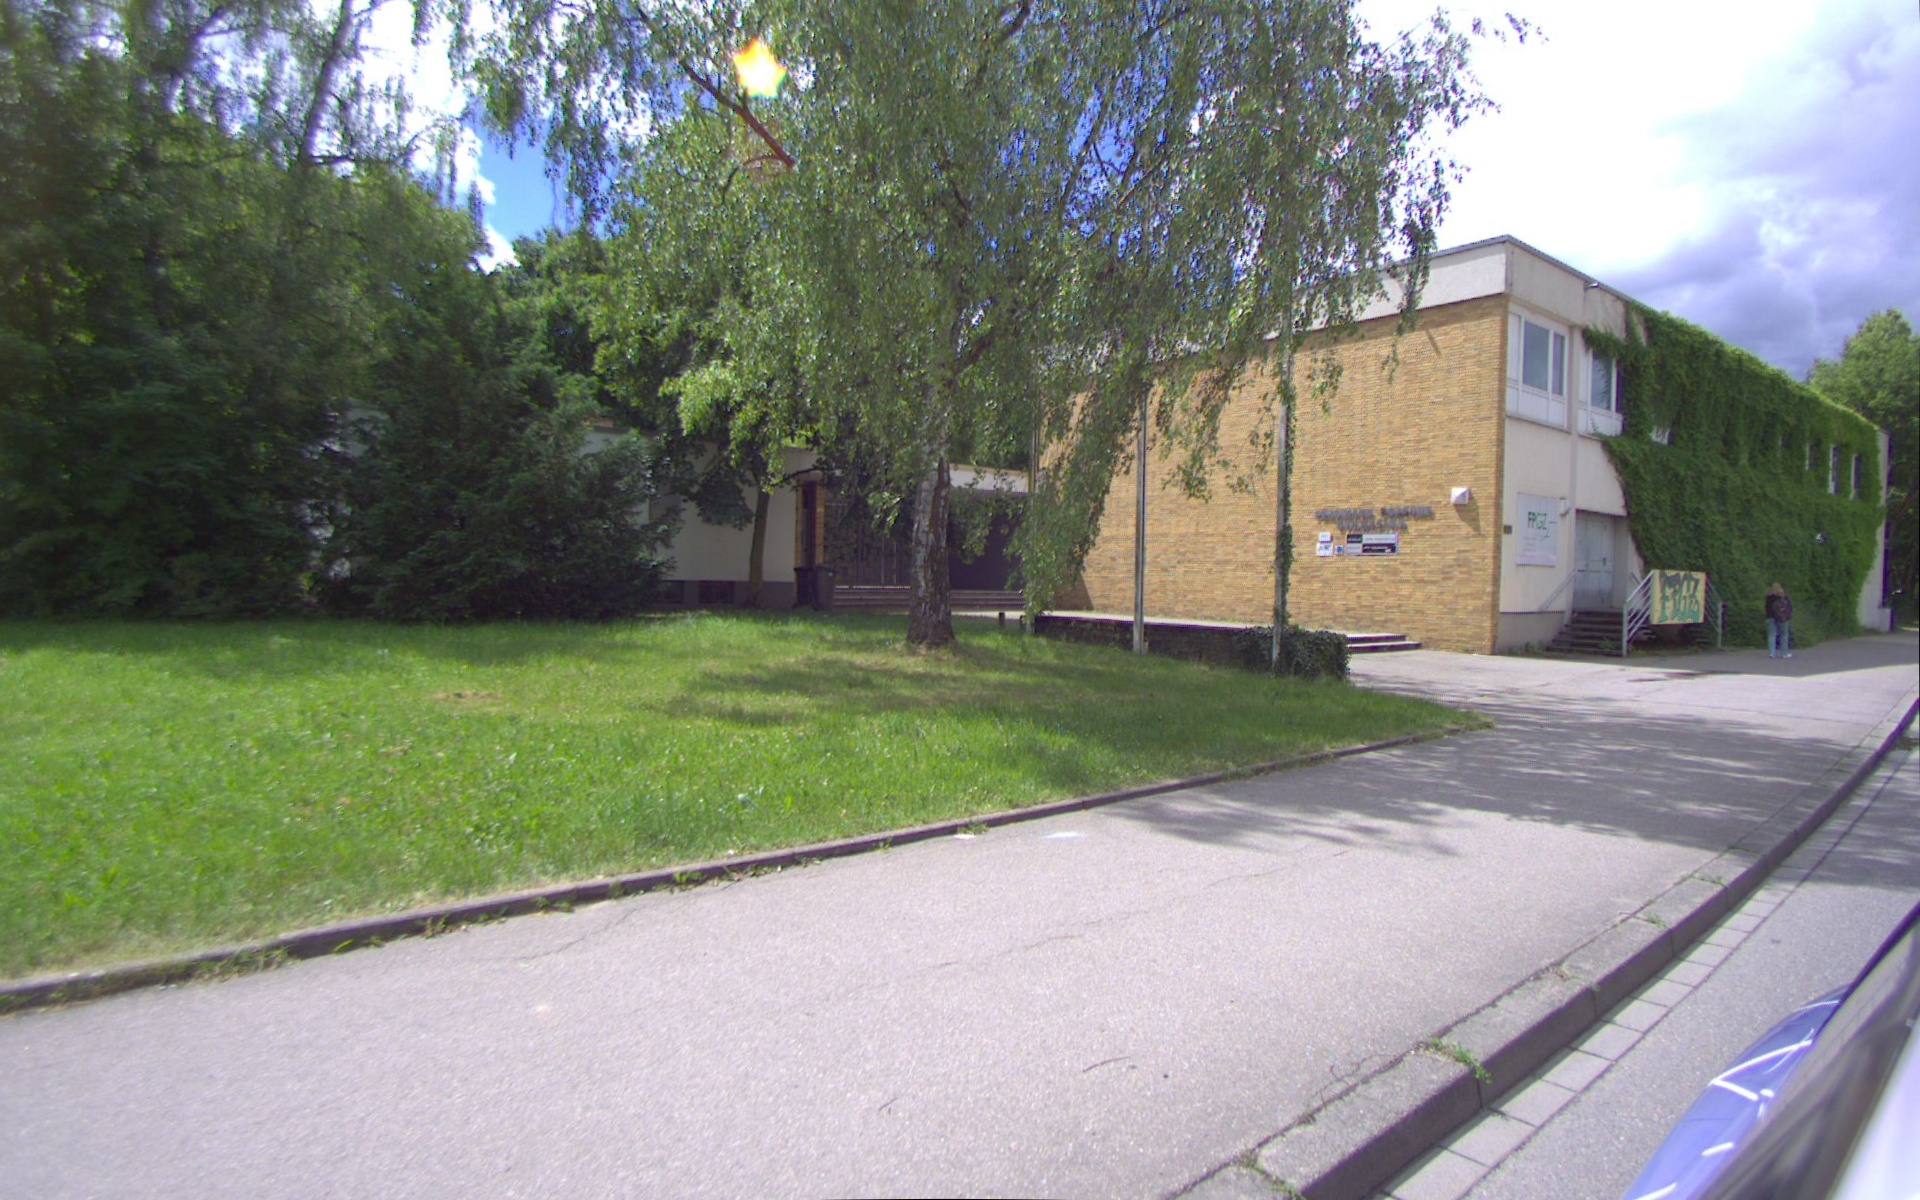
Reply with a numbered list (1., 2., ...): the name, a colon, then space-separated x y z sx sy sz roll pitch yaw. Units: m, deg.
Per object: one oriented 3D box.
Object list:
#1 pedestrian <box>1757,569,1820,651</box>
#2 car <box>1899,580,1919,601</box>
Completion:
1. pedestrian: 18.926 0.219 23.113 0.800 1.792 0.813 0 4 -33
2. car: 72.457 -0.745 76.629 4.157 1.561 1.753 -1 1 -44
